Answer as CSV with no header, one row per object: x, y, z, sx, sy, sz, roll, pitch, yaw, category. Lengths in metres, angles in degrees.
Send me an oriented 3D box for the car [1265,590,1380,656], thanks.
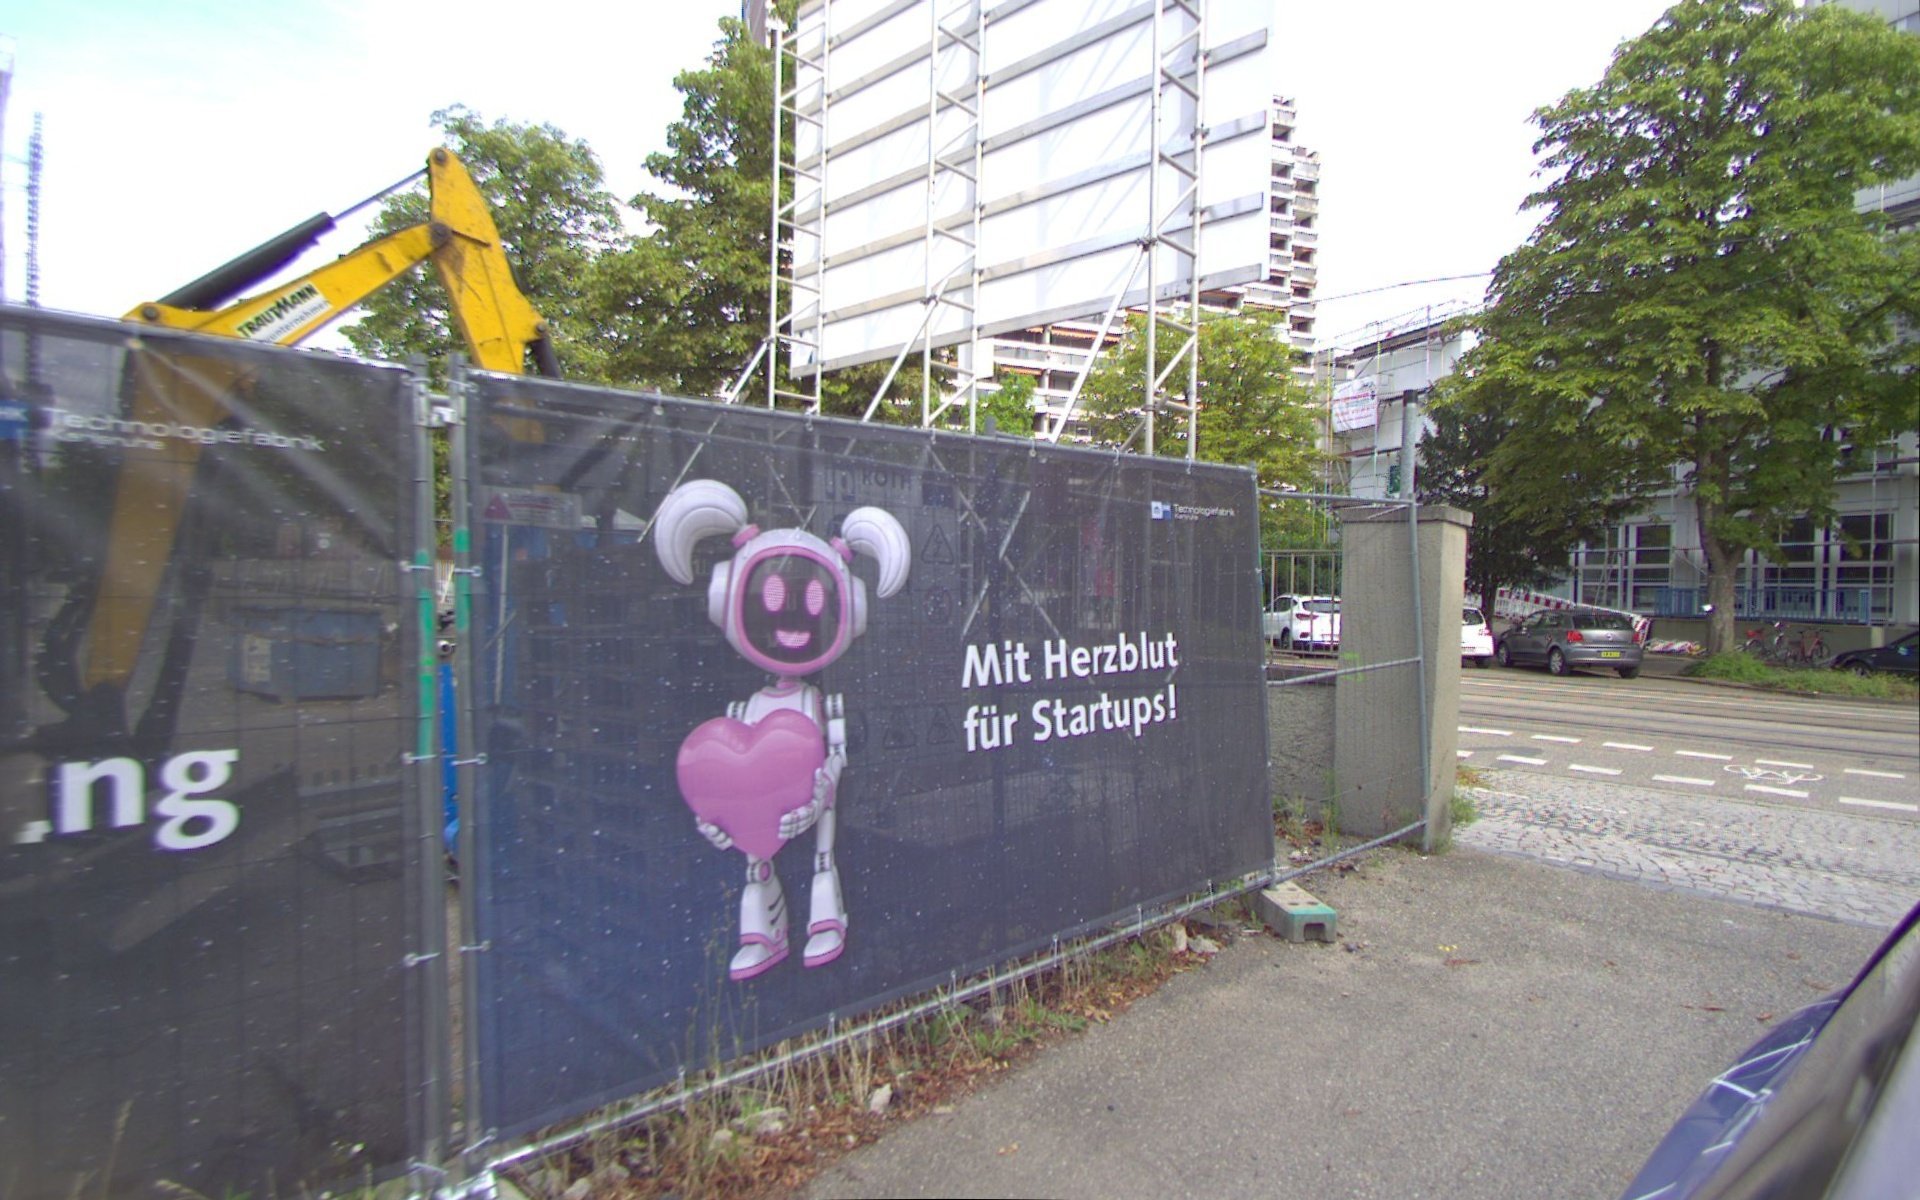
9.574,0.562,27.011,1.649,1.623,3.648,1,0,-2,car

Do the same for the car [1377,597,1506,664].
11.851,0.702,25.139,1.652,1.493,3.642,1,0,4,car

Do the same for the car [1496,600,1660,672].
13.856,0.752,22.930,1.652,1.437,3.642,1,0,4,car

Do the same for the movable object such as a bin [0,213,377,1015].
-4.100,0.020,3.834,3.003,2.474,2.497,1,0,-36,movable object such as a bin

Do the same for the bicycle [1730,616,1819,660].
20.896,0.976,25.966,1.937,1.057,0.595,2,0,-9,bicycle

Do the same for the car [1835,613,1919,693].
18.686,1.015,18.350,1.780,1.433,4.175,1,0,-6,car

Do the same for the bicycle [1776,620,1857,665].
21.272,1.048,25.140,1.936,1.057,0.596,1,0,-18,bicycle
